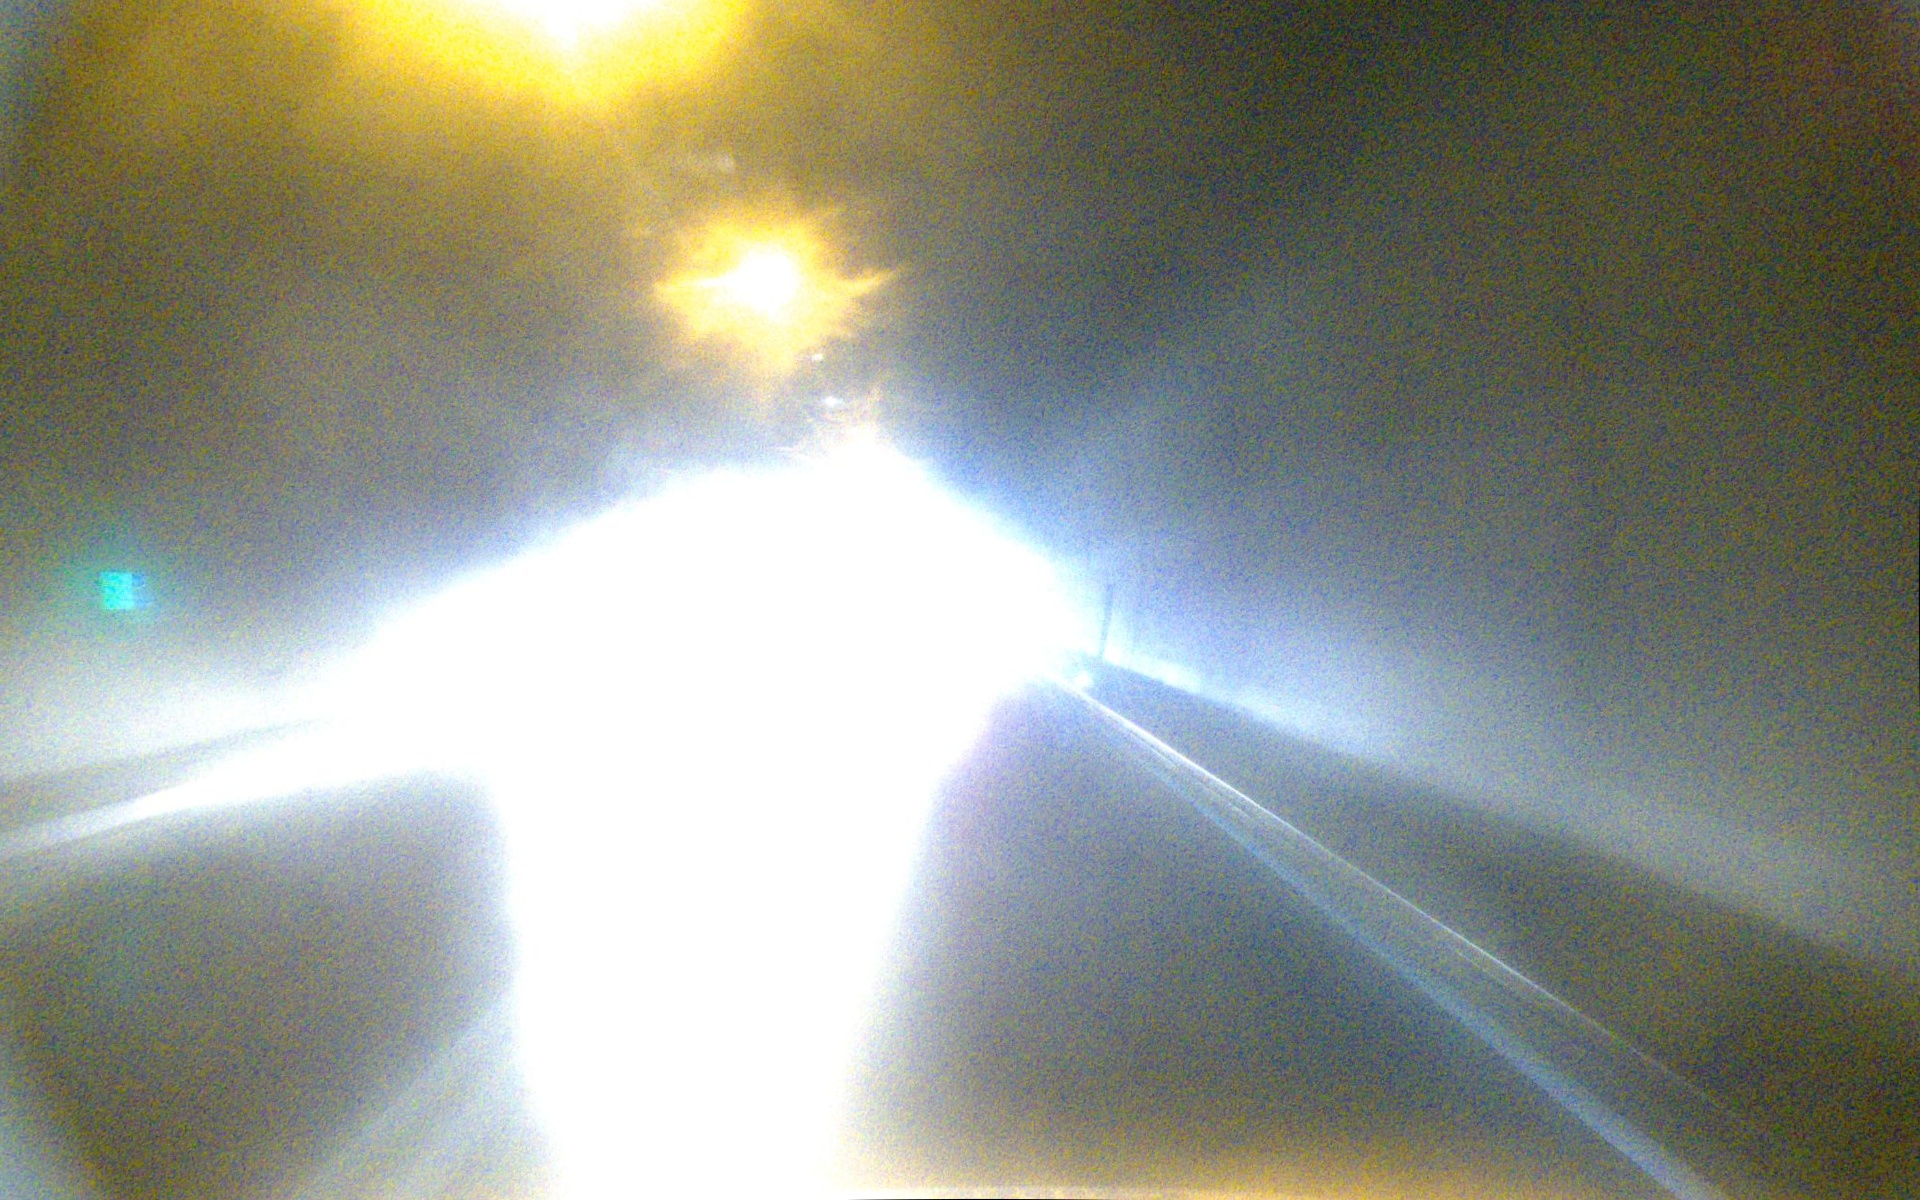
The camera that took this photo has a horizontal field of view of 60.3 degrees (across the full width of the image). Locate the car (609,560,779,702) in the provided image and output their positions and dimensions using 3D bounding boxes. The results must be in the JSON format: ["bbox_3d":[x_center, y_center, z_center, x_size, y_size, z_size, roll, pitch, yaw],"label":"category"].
[{"bbox_3d":[-3.438,0.343,22.006,1.635,1.676,3.906,-2,1,-1],"label":"car"}]

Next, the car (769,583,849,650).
[{"bbox_3d":[-3.750,0.392,41.620,1.666,1.583,3.872,1,0,-1],"label":"car"}]

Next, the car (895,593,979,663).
[{"bbox_3d":[-0.610,0.697,42.865,2.047,1.691,3.999,1,0,-1],"label":"car"}]

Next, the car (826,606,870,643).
[{"bbox_3d":[-4.639,0.993,68.980,1.656,1.447,3.624,1,0,-1],"label":"car"}]

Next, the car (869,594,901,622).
[{"bbox_3d":[-4.829,0.493,106.703,1.953,1.739,4.279,1,0,-1],"label":"car"}]
